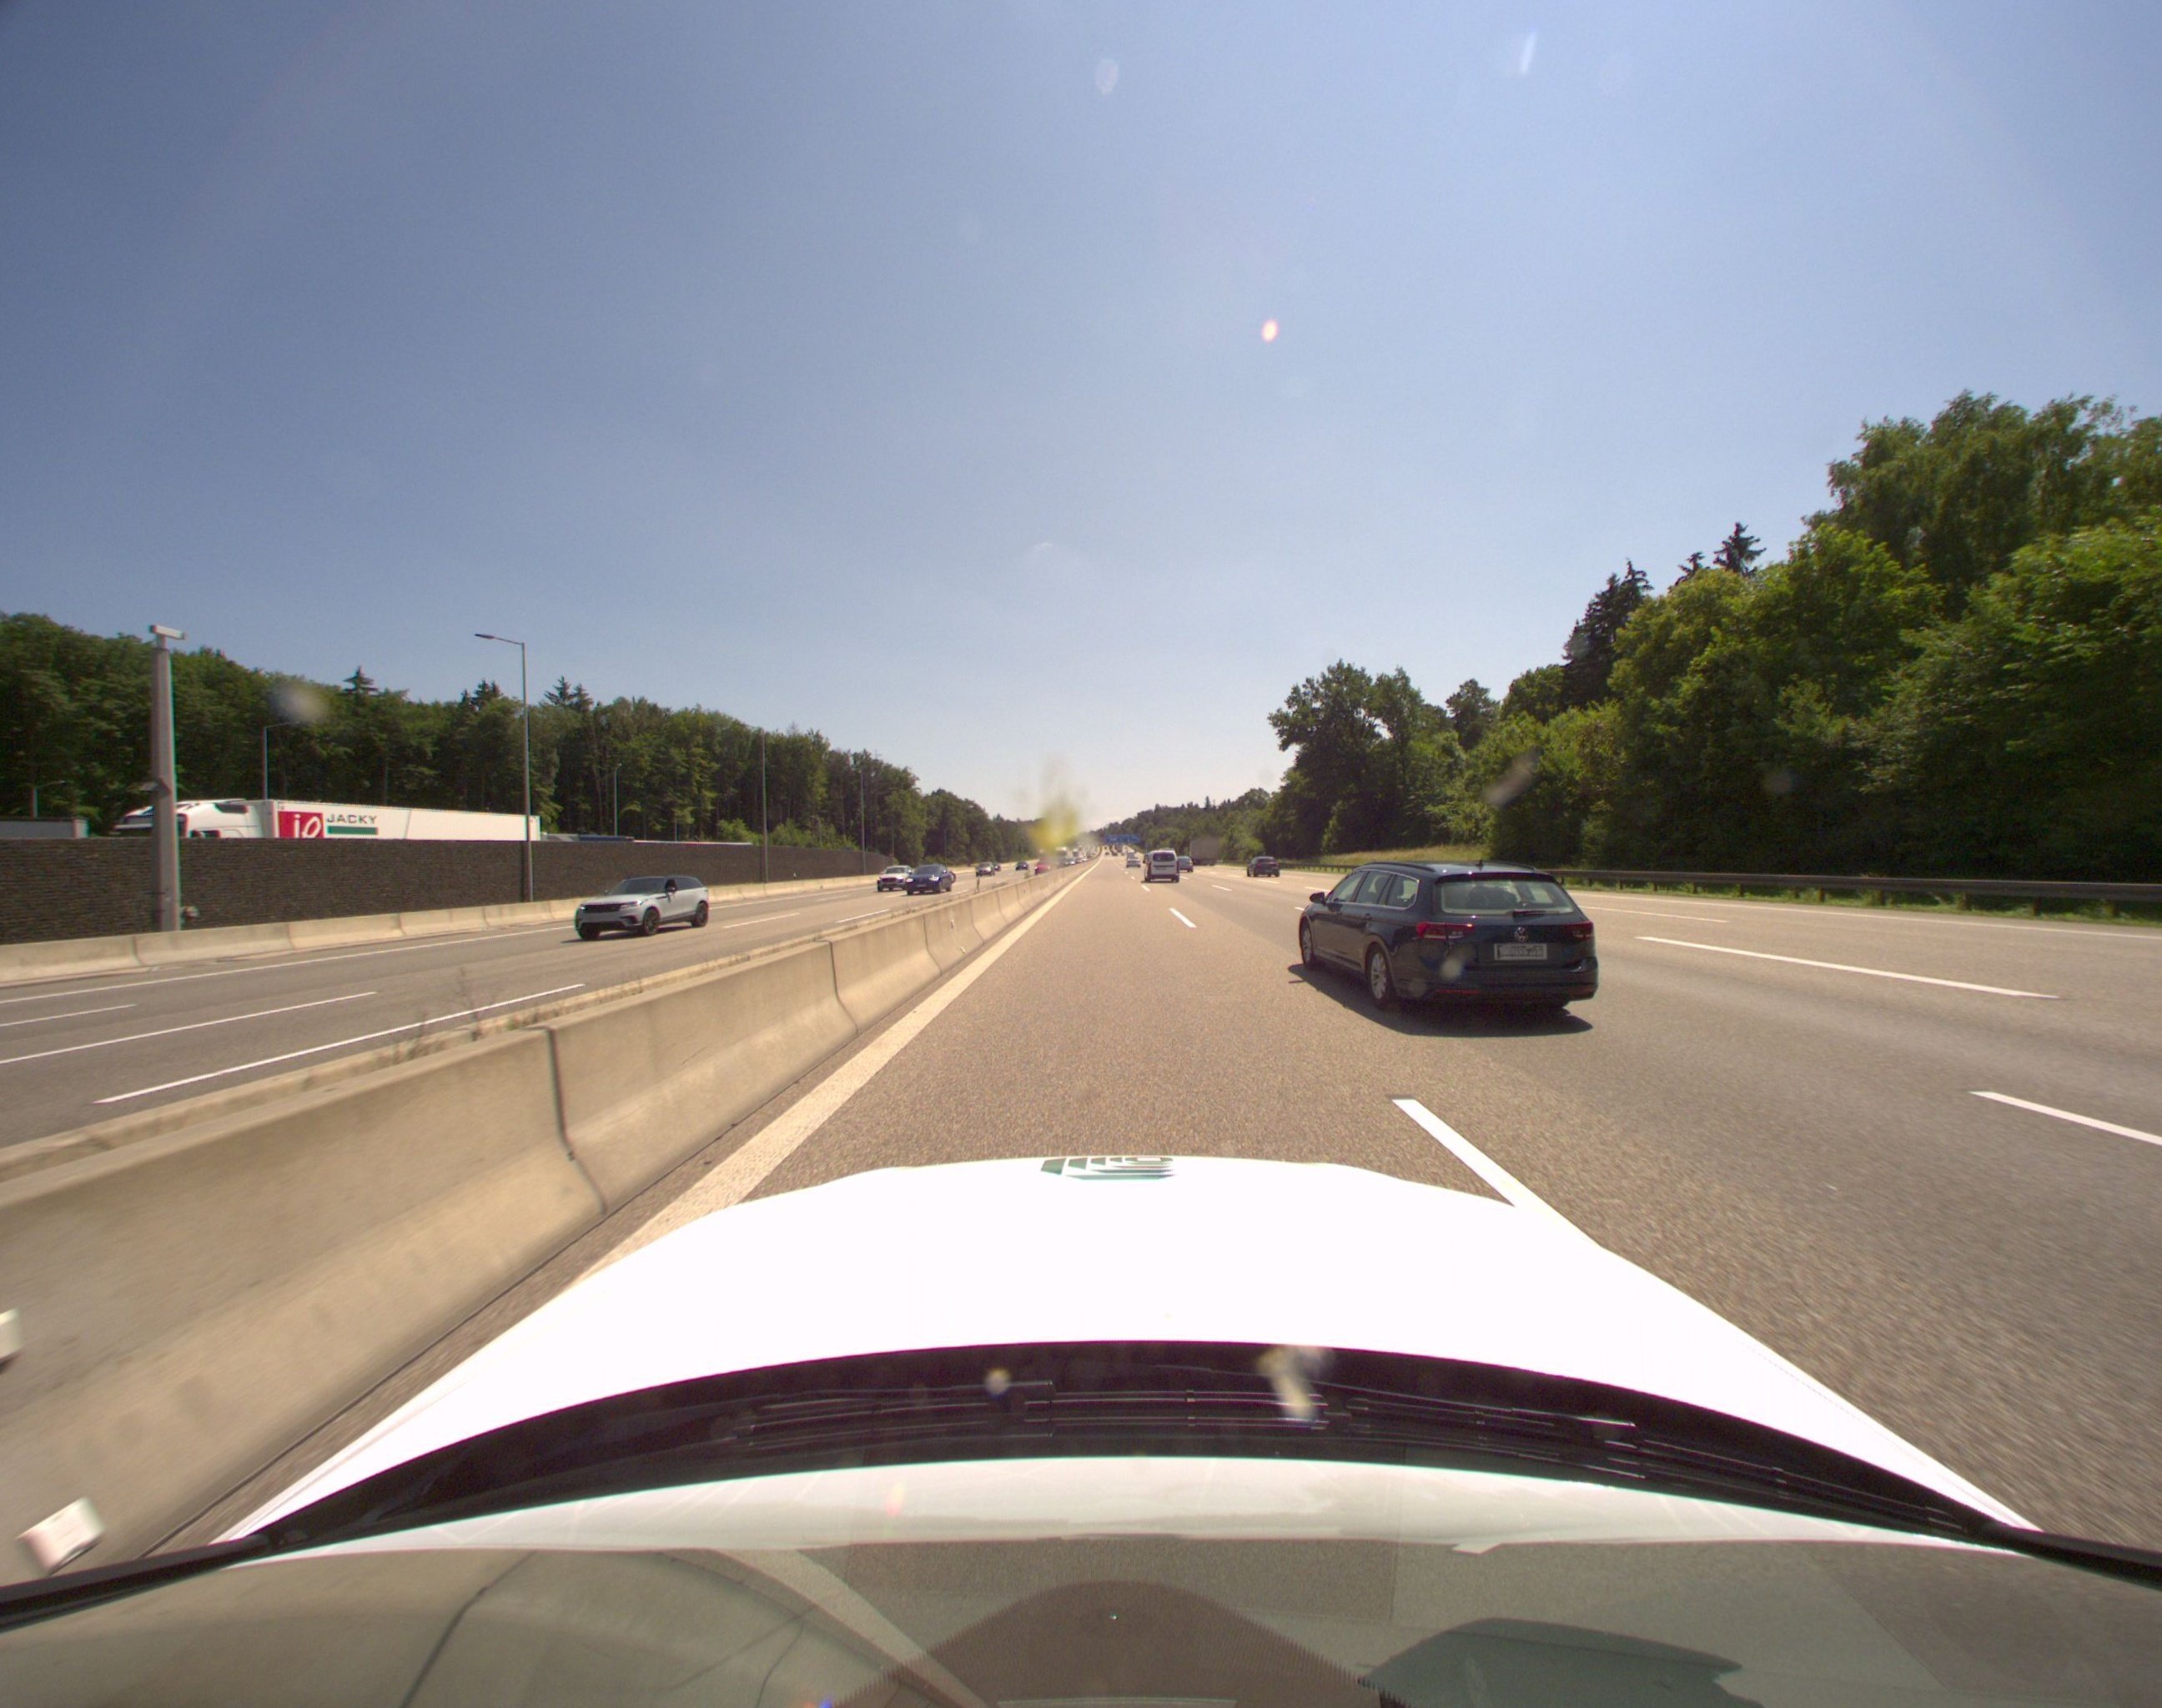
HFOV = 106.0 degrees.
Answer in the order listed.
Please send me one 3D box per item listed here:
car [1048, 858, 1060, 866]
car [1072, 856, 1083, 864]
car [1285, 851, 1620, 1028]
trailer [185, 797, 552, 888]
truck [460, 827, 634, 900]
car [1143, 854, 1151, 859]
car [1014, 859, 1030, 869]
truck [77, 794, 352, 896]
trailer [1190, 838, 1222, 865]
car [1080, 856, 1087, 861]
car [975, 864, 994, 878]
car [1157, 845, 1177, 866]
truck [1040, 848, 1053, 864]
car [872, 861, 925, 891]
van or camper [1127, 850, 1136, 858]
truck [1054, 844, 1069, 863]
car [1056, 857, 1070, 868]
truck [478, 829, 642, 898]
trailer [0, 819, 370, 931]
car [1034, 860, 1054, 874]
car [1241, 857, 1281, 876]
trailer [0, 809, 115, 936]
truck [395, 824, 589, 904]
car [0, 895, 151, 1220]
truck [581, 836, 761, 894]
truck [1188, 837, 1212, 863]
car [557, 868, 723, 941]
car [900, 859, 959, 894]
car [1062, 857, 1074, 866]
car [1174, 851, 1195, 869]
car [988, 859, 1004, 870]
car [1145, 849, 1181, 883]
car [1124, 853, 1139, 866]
[{"bbox_3d":[-5.385,1.588,162.204,1.987,1.487,5.018,-3,0,0],"label":"car"},{"bbox_3d":[-0.705,1.238,174.558,1.987,1.487,5.135,-8,0,0],"label":"car"},{"bbox_3d":[3.723,0.716,9.282,1.723,1.447,4.964,-1,0,2],"label":"car"},{"bbox_3d":[-29.918,-0.378,36.064,2.961,3.124,14.615,-2,0,2],"label":"trailer"},{"bbox_3d":[-44.088,0.643,67.718,11.604,5.612,3.188,-2,0,-44],"label":"truck"},{"bbox_3d":[18.384,0.710,227.286,1.829,1.338,3.645,-2,0,1],"label":"car"},{"bbox_3d":[-9.510,1.595,131.796,1.986,1.621,5.755,-2,0,1],"label":"car"},{"bbox_3d":[-30.174,-0.280,28.839,2.916,3.124,6.205,-2,0,2],"label":"truck"},{"bbox_3d":[19.675,-0.451,128.948,3.276,3.930,13.894,0,1,1],"label":"trailer"},{"bbox_3d":[0.613,1.146,208.417,1.742,1.457,4.156,-2,0,0],"label":"car"},{"bbox_3d":[-11.024,1.913,93.388,1.716,1.555,4.057,-2,0,0],"label":"car"},{"bbox_3d":[11.437,0.181,108.477,2.135,2.652,5.712,-1,1,2],"label":"car"},{"bbox_3d":[-9.678,0.594,230.024,2.825,4.197,10.596,-2,0,1],"label":"truck"},{"bbox_3d":[-12.241,1.427,54.987,1.986,1.774,5.926,-2,0,2],"label":"car"},{"bbox_3d":[15.823,0.074,256.395,2.635,2.539,6.504,-2,0,2],"label":"van or camper"},{"bbox_3d":[-4.371,0.009,185.893,3.036,4.137,6.951,-2,0,1],"label":"truck"},{"bbox_3d":[-2.753,1.278,125.007,1.987,1.663,5.755,-3,0,1],"label":"car"},{"bbox_3d":[-45.277,0.712,71.202,11.604,5.612,3.326,-2,0,-44],"label":"truck"},{"bbox_3d":[-46.223,0.862,41.651,14.650,5.072,3.184,-2,0,-44],"label":"trailer"},{"bbox_3d":[-4.054,1.398,89.158,1.724,1.513,5.046,-2,0,2],"label":"car"},{"bbox_3d":[12.510,0.851,56.862,1.666,1.273,4.287,-1,0,-2],"label":"car"},{"bbox_3d":[-47.702,0.858,30.425,14.650,5.072,3.091,-2,0,-44],"label":"trailer"},{"bbox_3d":[-44.684,0.636,62.218,11.604,5.612,3.188,-2,0,-44],"label":"truck"},{"bbox_3d":[-6.533,1.089,2.139,1.777,1.643,5.464,-2,0,1],"label":"car"},{"bbox_3d":[-43.493,0.989,87.389,16.806,5.612,3.408,-2,0,-44],"label":"truck"},{"bbox_3d":[19.802,-0.685,135.531,3.242,4.106,5.990,0,1,1],"label":"truck"},{"bbox_3d":[-12.759,1.375,24.035,1.986,1.774,5.040,-2,0,2],"label":"car"},{"bbox_3d":[-8.505,1.222,46.336,1.986,1.774,5.926,-2,0,2],"label":"car"},{"bbox_3d":[-2.339,1.341,148.384,1.987,1.663,4.971,-3,0,1],"label":"car"},{"bbox_3d":[9.484,0.539,74.590,1.498,1.500,3.651,-2,0,2],"label":"car"},{"bbox_3d":[-13.809,1.668,132.361,1.987,1.621,4.214,-2,0,0],"label":"car"},{"bbox_3d":[4.714,0.651,47.359,1.852,1.826,4.616,-2,0,3],"label":"car"},{"bbox_3d":[6.767,0.782,108.785,1.836,1.629,4.555,-2,0,2],"label":"car"}]
